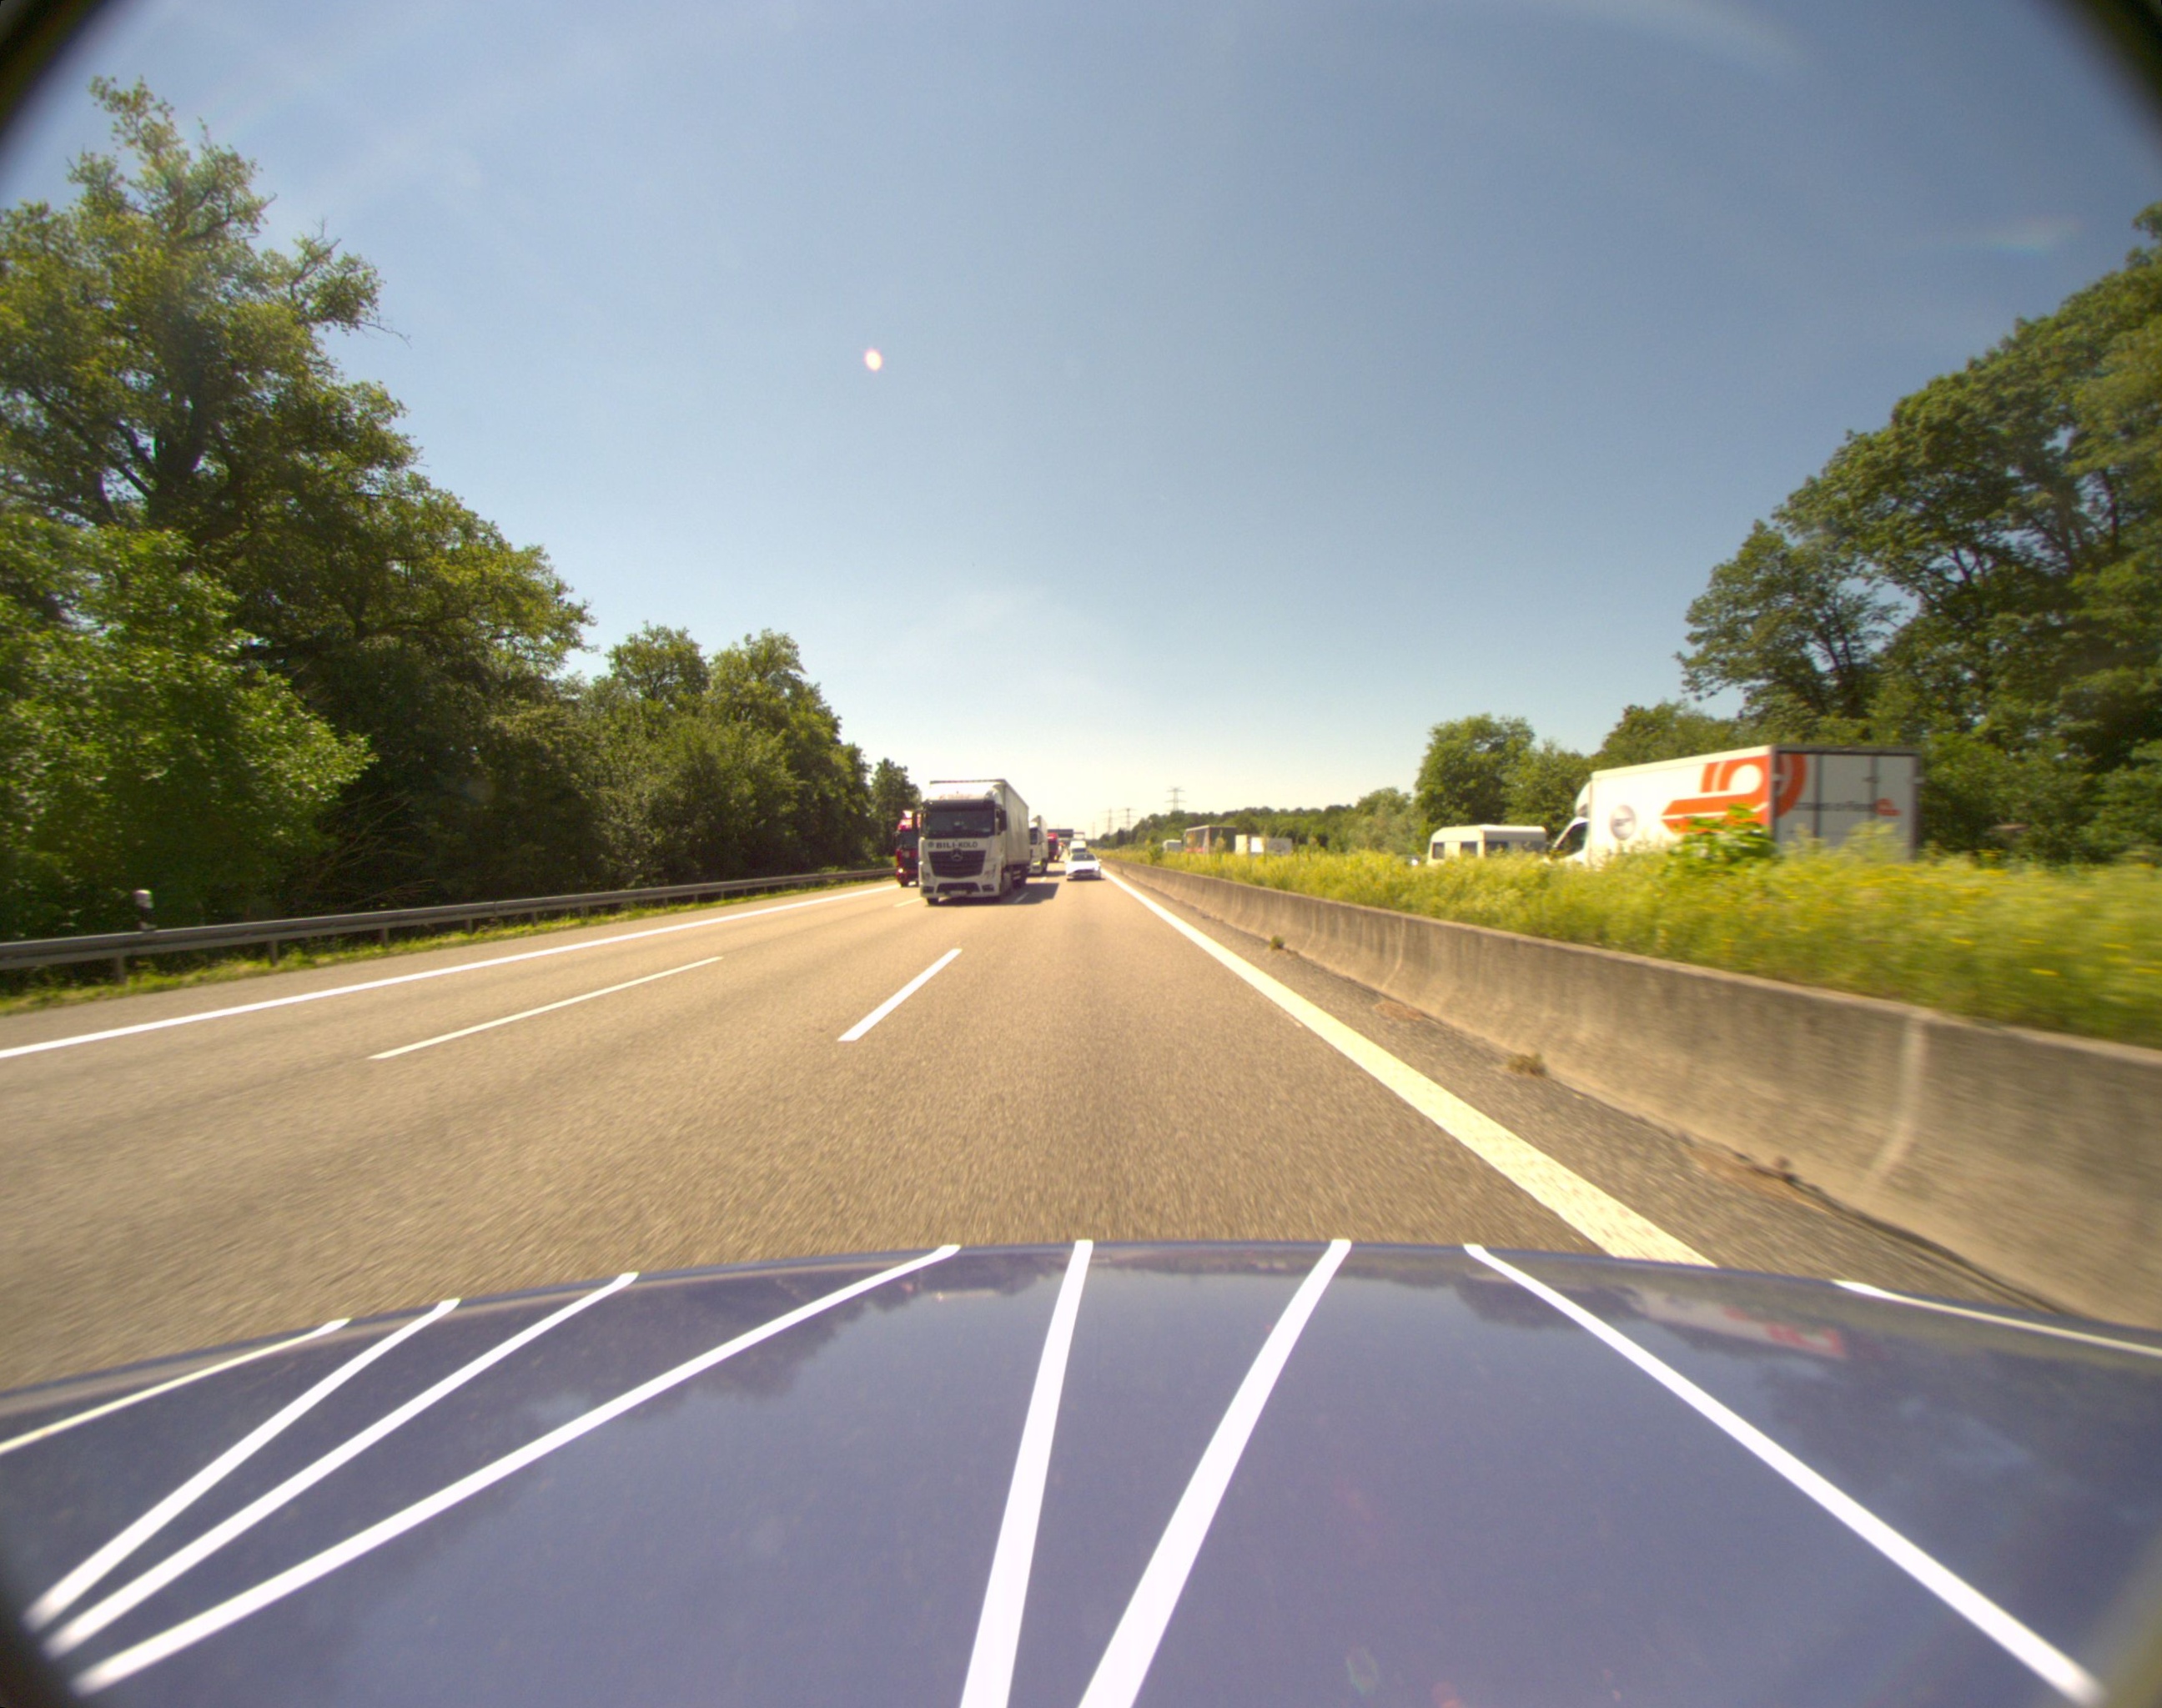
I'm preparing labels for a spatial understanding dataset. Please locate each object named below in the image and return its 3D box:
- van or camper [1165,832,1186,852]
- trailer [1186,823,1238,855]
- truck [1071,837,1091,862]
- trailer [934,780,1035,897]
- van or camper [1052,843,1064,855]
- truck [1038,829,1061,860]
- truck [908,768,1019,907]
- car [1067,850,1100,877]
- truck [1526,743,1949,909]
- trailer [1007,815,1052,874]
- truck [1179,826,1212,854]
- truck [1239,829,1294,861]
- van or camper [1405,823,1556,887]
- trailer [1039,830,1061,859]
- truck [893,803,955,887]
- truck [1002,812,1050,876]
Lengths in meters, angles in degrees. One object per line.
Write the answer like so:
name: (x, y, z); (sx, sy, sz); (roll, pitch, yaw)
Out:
van or camper: (15.326, -1.967, 123.980); (2.513, 3.137, 7.533); (-2, 0, 1)
trailer: (13.214, -1.494, 78.023); (2.649, 2.952, 14.229); (-1, 1, -1)
truck: (-0.035, -0.525, 90.467); (2.192, 2.842, 5.502); (-1, 1, -2)
trailer: (-3.859, -0.696, 34.322); (2.715, 4.045, 14.741); (-2, 1, -1)
van or camper: (-4.966, -1.154, 163.888); (2.412, 2.483, 6.430); (-1, 1, -2)
truck: (-4.252, -1.271, 104.199); (2.949, 3.963, 6.099); (-2, 1, -2)
truck: (-3.747, -0.554, 25.836); (2.707, 4.071, 6.451); (-2, 1, -1)
car: (0.130, 0.541, 45.224); (1.788, 1.462, 3.999); (-1, 1, -2)
truck: (11.157, -0.446, 13.864); (2.317, 2.313, 6.077); (-2, 1, -2)
trailer: (-3.811, -0.733, 58.901); (2.802, 4.012, 12.563); (-2, 1, -1)
truck: (13.115, -1.594, 87.166); (2.613, 2.991, 6.970); (-1, 1, -1)
truck: (17.990, -0.863, 74.529); (2.694, 2.925, 10.484); (-1, 1, 0)
van or camper: (14.252, -0.011, 27.644); (2.227, 2.002, 5.885); (-2, 1, -1)
trailer: (-4.591, -1.409, 113.257); (2.946, 3.995, 16.194); (-2, 1, -2)
truck: (-8.366, -0.482, 40.959); (2.334, 4.206, 4.672); (-2, 0, -1)
truck: (-3.611, -0.650, 51.150); (2.807, 3.984, 6.018); (-2, 1, -1)
